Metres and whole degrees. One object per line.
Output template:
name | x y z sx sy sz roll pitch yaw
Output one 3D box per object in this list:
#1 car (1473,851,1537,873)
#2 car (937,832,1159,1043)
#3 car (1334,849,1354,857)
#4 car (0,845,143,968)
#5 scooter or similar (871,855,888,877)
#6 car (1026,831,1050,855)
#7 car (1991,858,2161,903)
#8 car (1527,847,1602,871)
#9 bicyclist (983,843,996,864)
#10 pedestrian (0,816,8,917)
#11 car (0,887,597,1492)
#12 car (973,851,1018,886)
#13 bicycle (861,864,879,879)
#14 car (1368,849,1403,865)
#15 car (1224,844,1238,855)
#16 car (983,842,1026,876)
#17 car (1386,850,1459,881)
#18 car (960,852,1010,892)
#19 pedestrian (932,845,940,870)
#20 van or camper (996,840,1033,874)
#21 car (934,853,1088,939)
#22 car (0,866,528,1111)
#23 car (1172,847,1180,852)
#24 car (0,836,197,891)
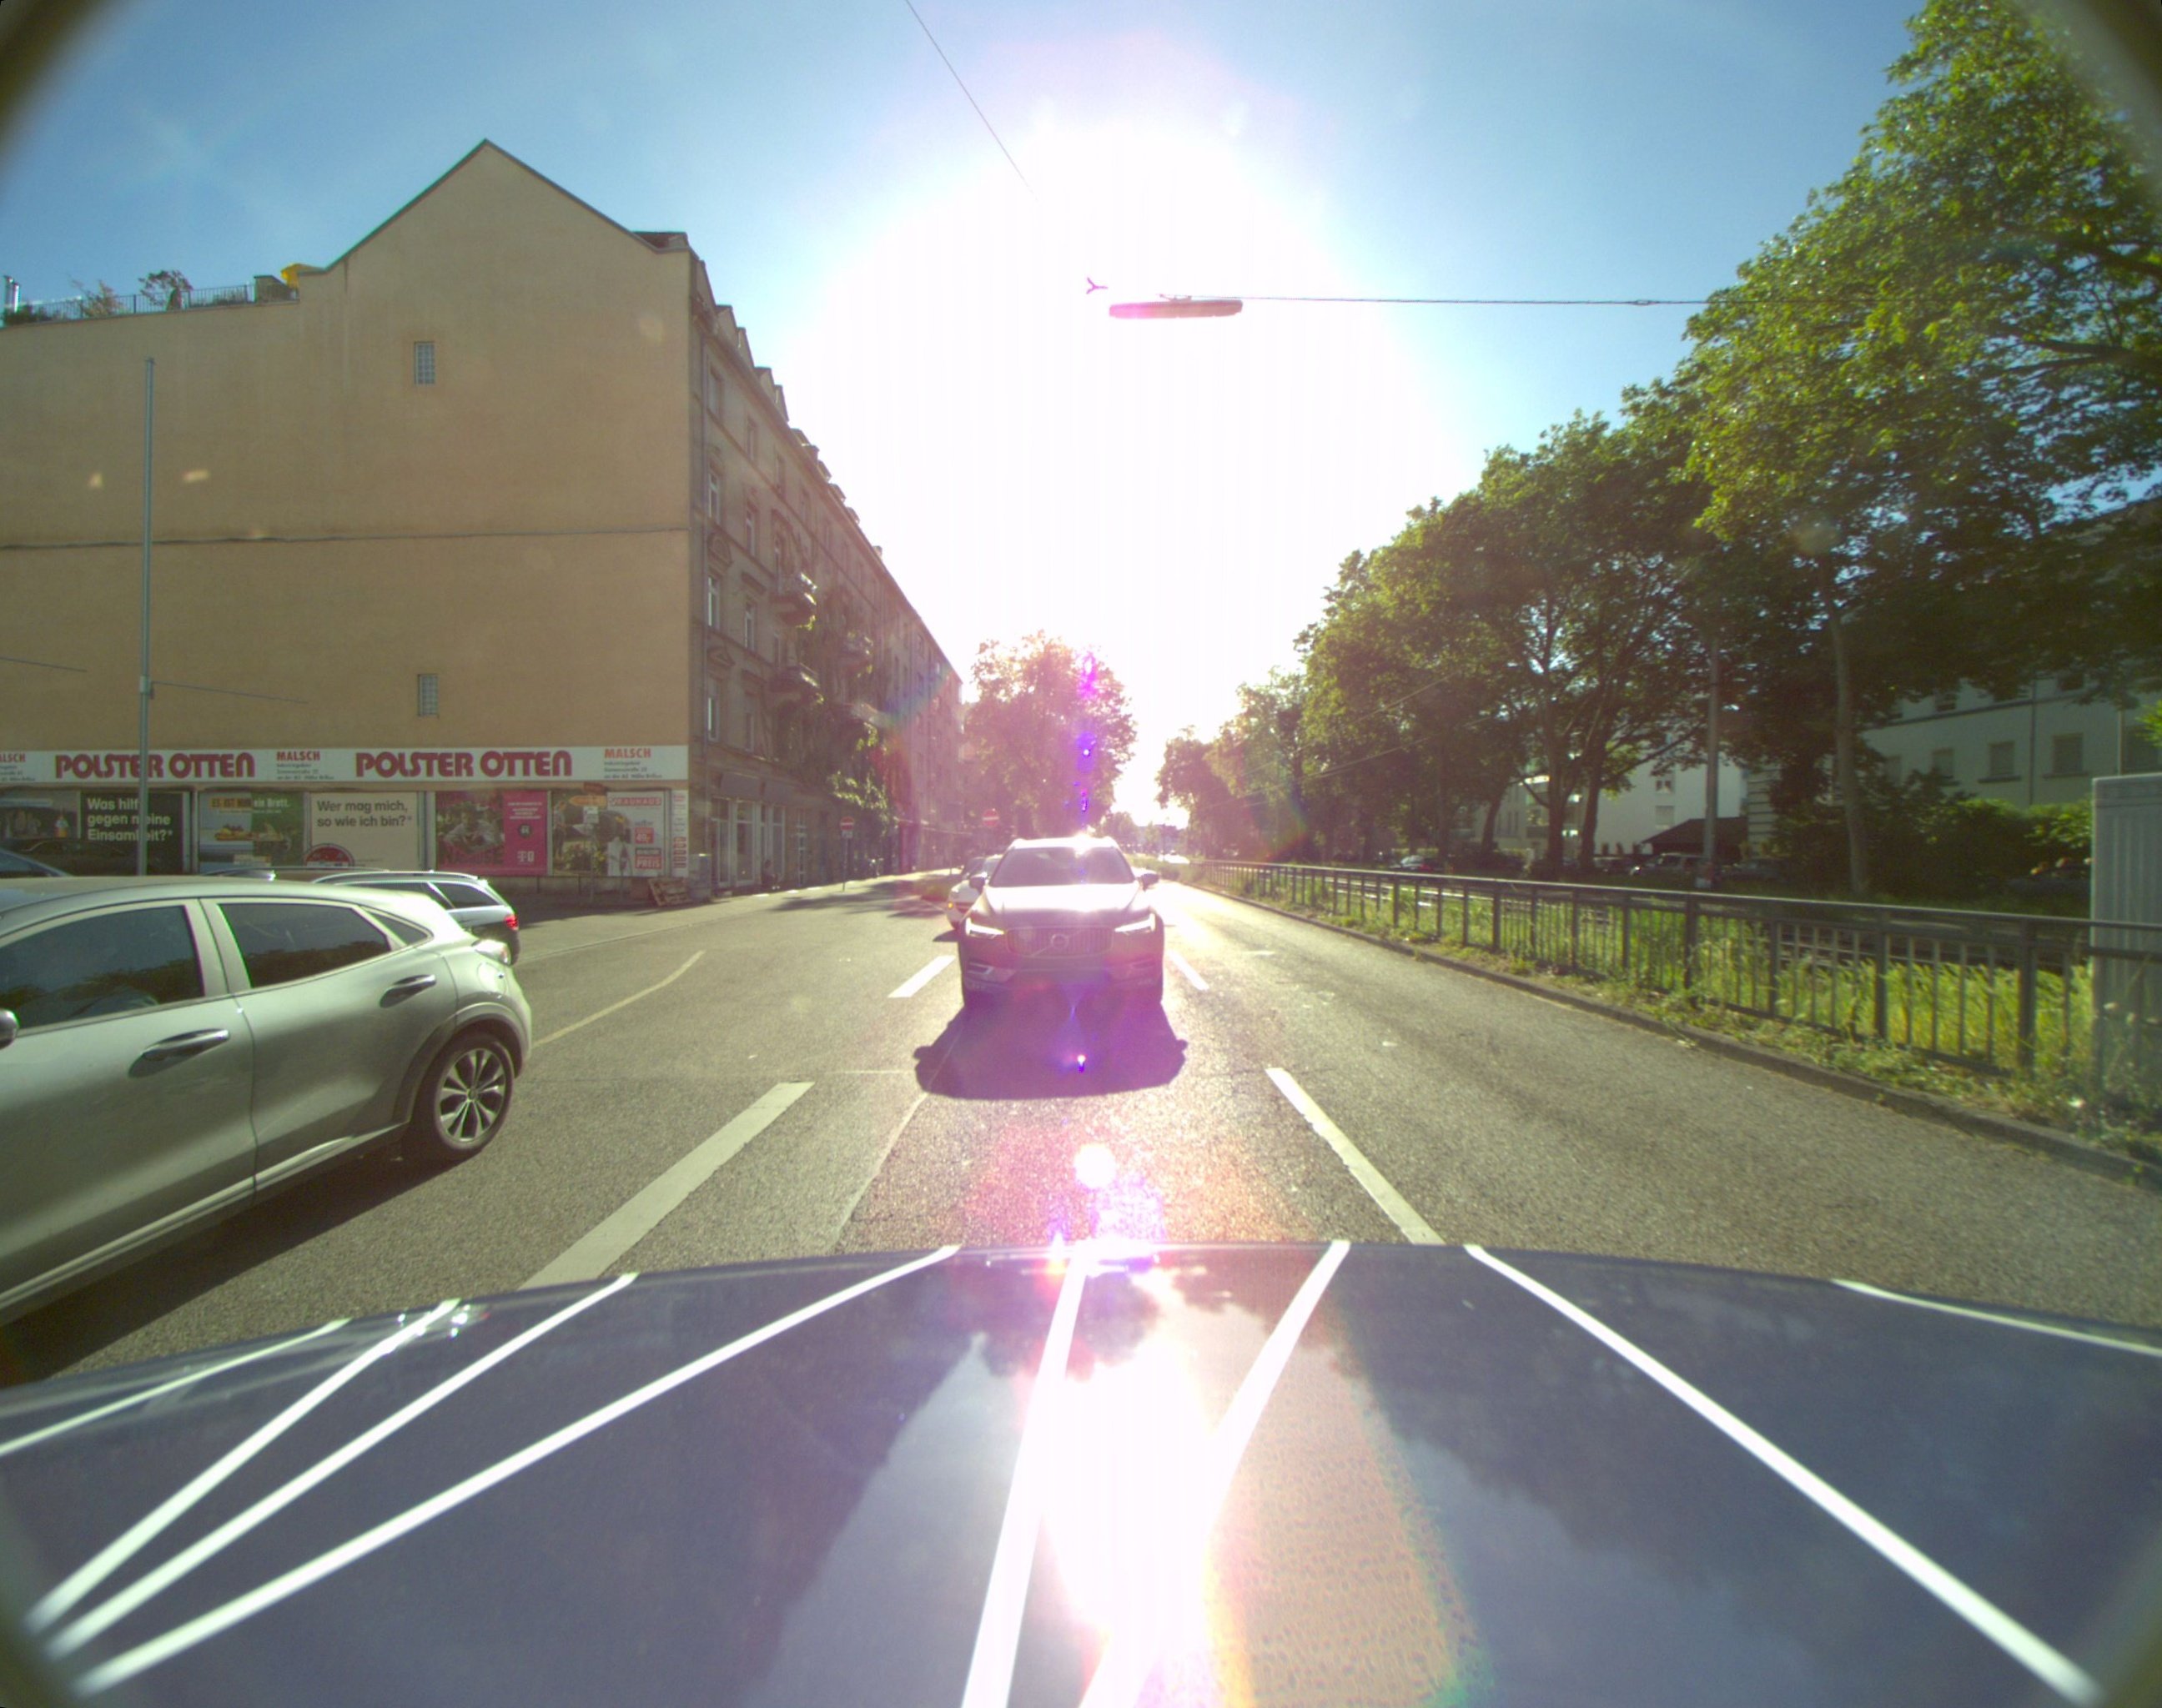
car | 29.026 0.529 52.197 1.998 1.444 4.318 0 1 1
car | -0.225 0.684 8.744 1.876 1.788 4.632 0 1 1
car | 28.012 -0.134 81.086 1.109 0.871 3.060 0 0 1
car | -15.207 0.704 9.627 1.749 1.635 3.998 0 1 -3
scooter or similar | -11.090 0.642 41.840 0.638 1.167 1.730 0 1 -24
car | -4.547 -1.124 81.017 2.079 2.420 5.855 -1 1 1
car | 28.326 0.704 21.387 1.476 1.110 3.217 0 1 -2
car | 28.816 0.250 45.462 1.644 1.316 4.460 2 1 1
bicyclist | -6.365 -0.047 52.845 0.746 1.453 0.951 0 2 2
pedestrian | -21.845 0.253 14.692 0.819 2.002 0.923 0 1 1
car | -3.880 1.010 2.677 1.702 1.519 4.379 -1 1 -3
car | -4.087 0.657 36.922 1.743 1.509 3.999 -3 1 -1
bicycle | -11.087 0.913 39.955 0.469 0.702 1.512 0 1 1
car | 28.480 0.234 71.186 1.801 1.464 4.000 0 1 1
car | 27.506 -0.797 139.706 1.998 2.002 4.001 -1 0 5
car | -4.193 0.242 42.144 1.869 1.754 4.000 0 1 1
car | 17.600 0.563 39.421 1.688 1.490 4.341 0 1 -2
car | -4.053 0.727 32.472 1.645 1.509 3.999 -3 1 -1
pedestrian | -10.454 0.254 54.901 0.470 1.822 0.516 0 1 0
van or camper | -4.105 0.154 47.668 1.889 2.002 5.093 0 1 0
car | -1.317 0.788 15.946 1.605 1.446 3.786 -1 2 22
car | -8.217 0.965 7.583 1.837 1.478 4.733 3 1 1
car | 28.010 -1.321 223.824 1.862 1.638 4.459 0 1 -1
car | -28.678 0.214 22.047 1.679 1.455 3.644 0 2 3
